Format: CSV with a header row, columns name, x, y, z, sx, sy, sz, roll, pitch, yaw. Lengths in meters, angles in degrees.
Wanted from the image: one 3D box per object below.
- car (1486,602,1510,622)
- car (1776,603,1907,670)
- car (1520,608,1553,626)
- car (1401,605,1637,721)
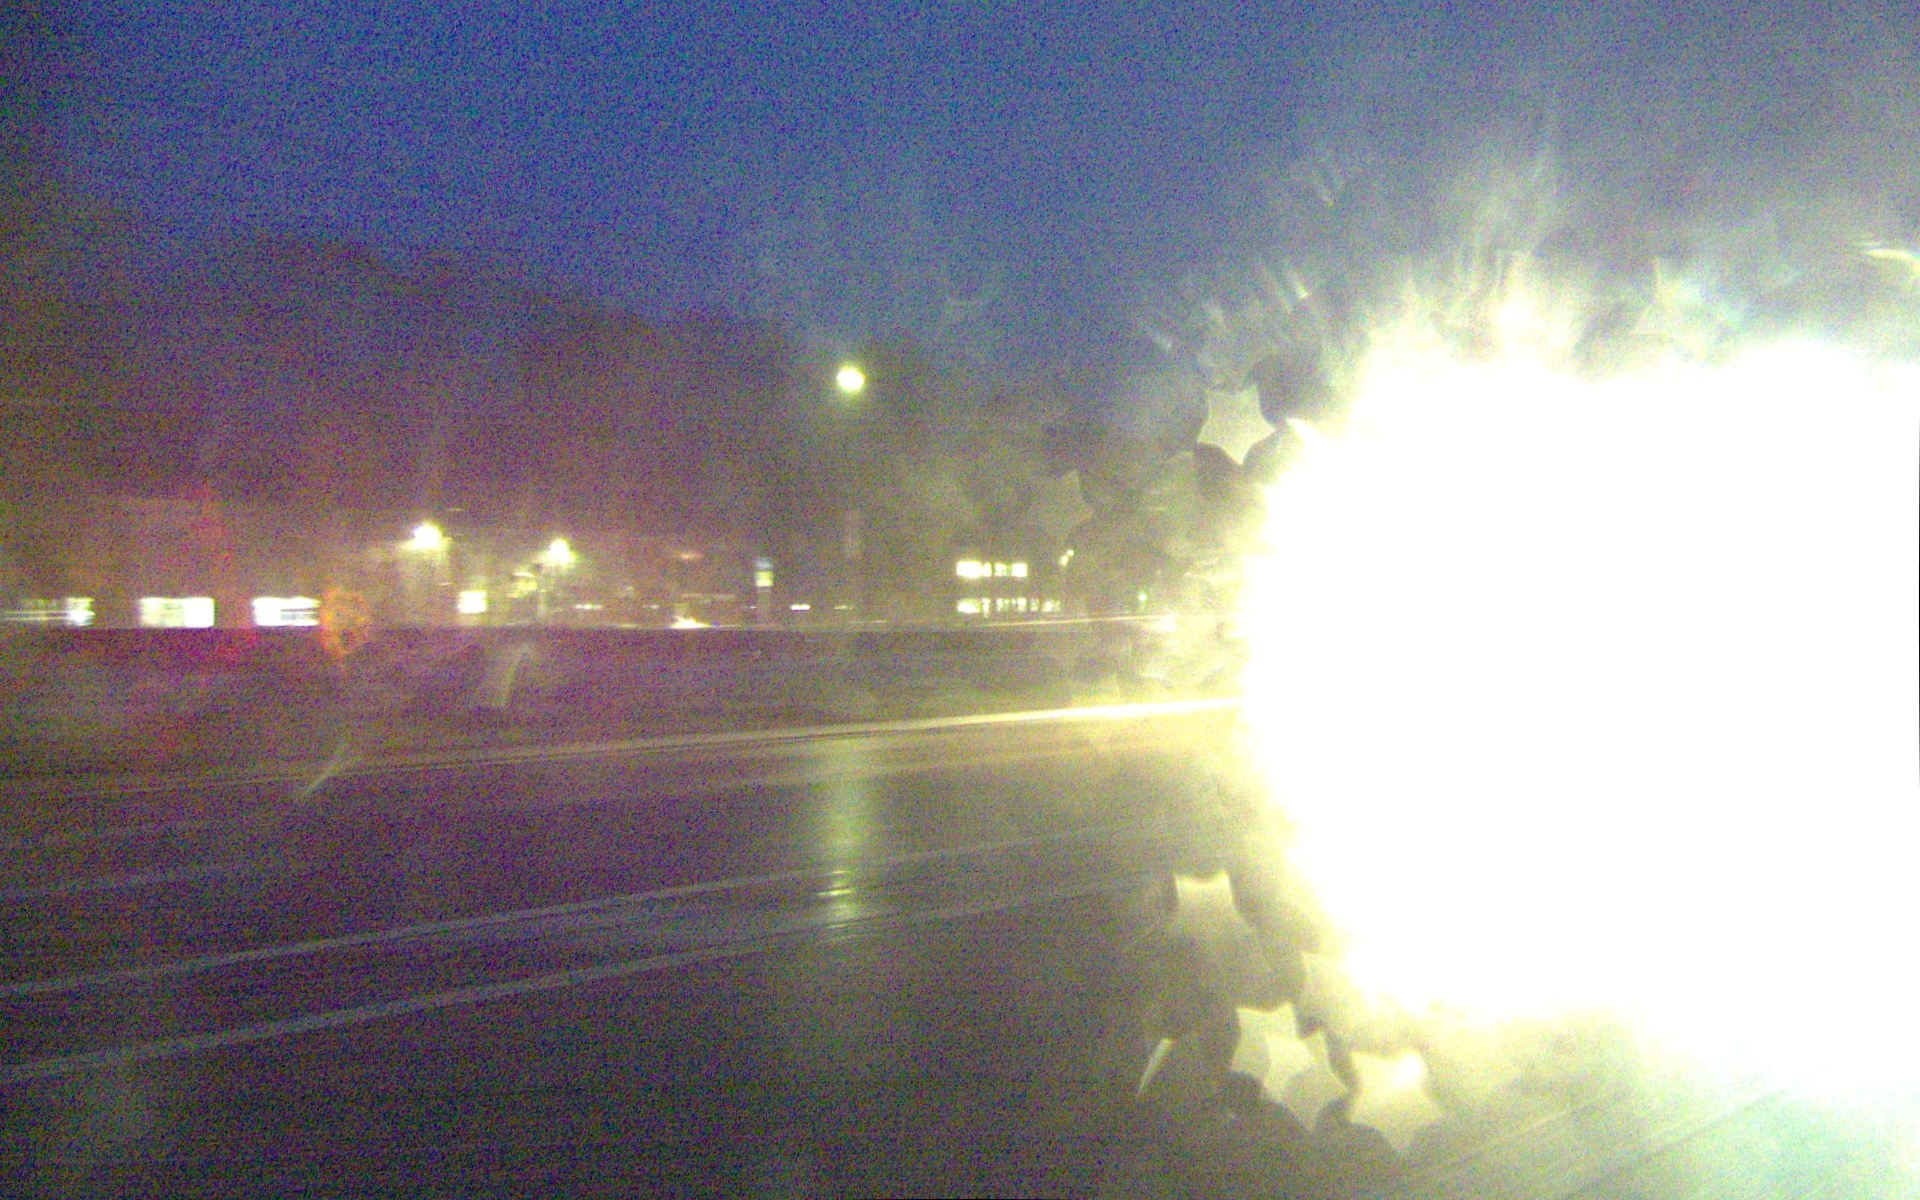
name,x,y,z,sx,sy,sz,roll,pitch,yaw
car,42.660,0.943,79.569,1.489,1.538,4.366,3,1,30
car,24.603,0.976,27.982,4.608,1.663,1.749,1,1,-36
car,51.293,1.511,89.308,1.702,1.539,3.978,2,1,42
car,9.186,0.971,16.406,3.991,1.609,1.789,2,1,-35
